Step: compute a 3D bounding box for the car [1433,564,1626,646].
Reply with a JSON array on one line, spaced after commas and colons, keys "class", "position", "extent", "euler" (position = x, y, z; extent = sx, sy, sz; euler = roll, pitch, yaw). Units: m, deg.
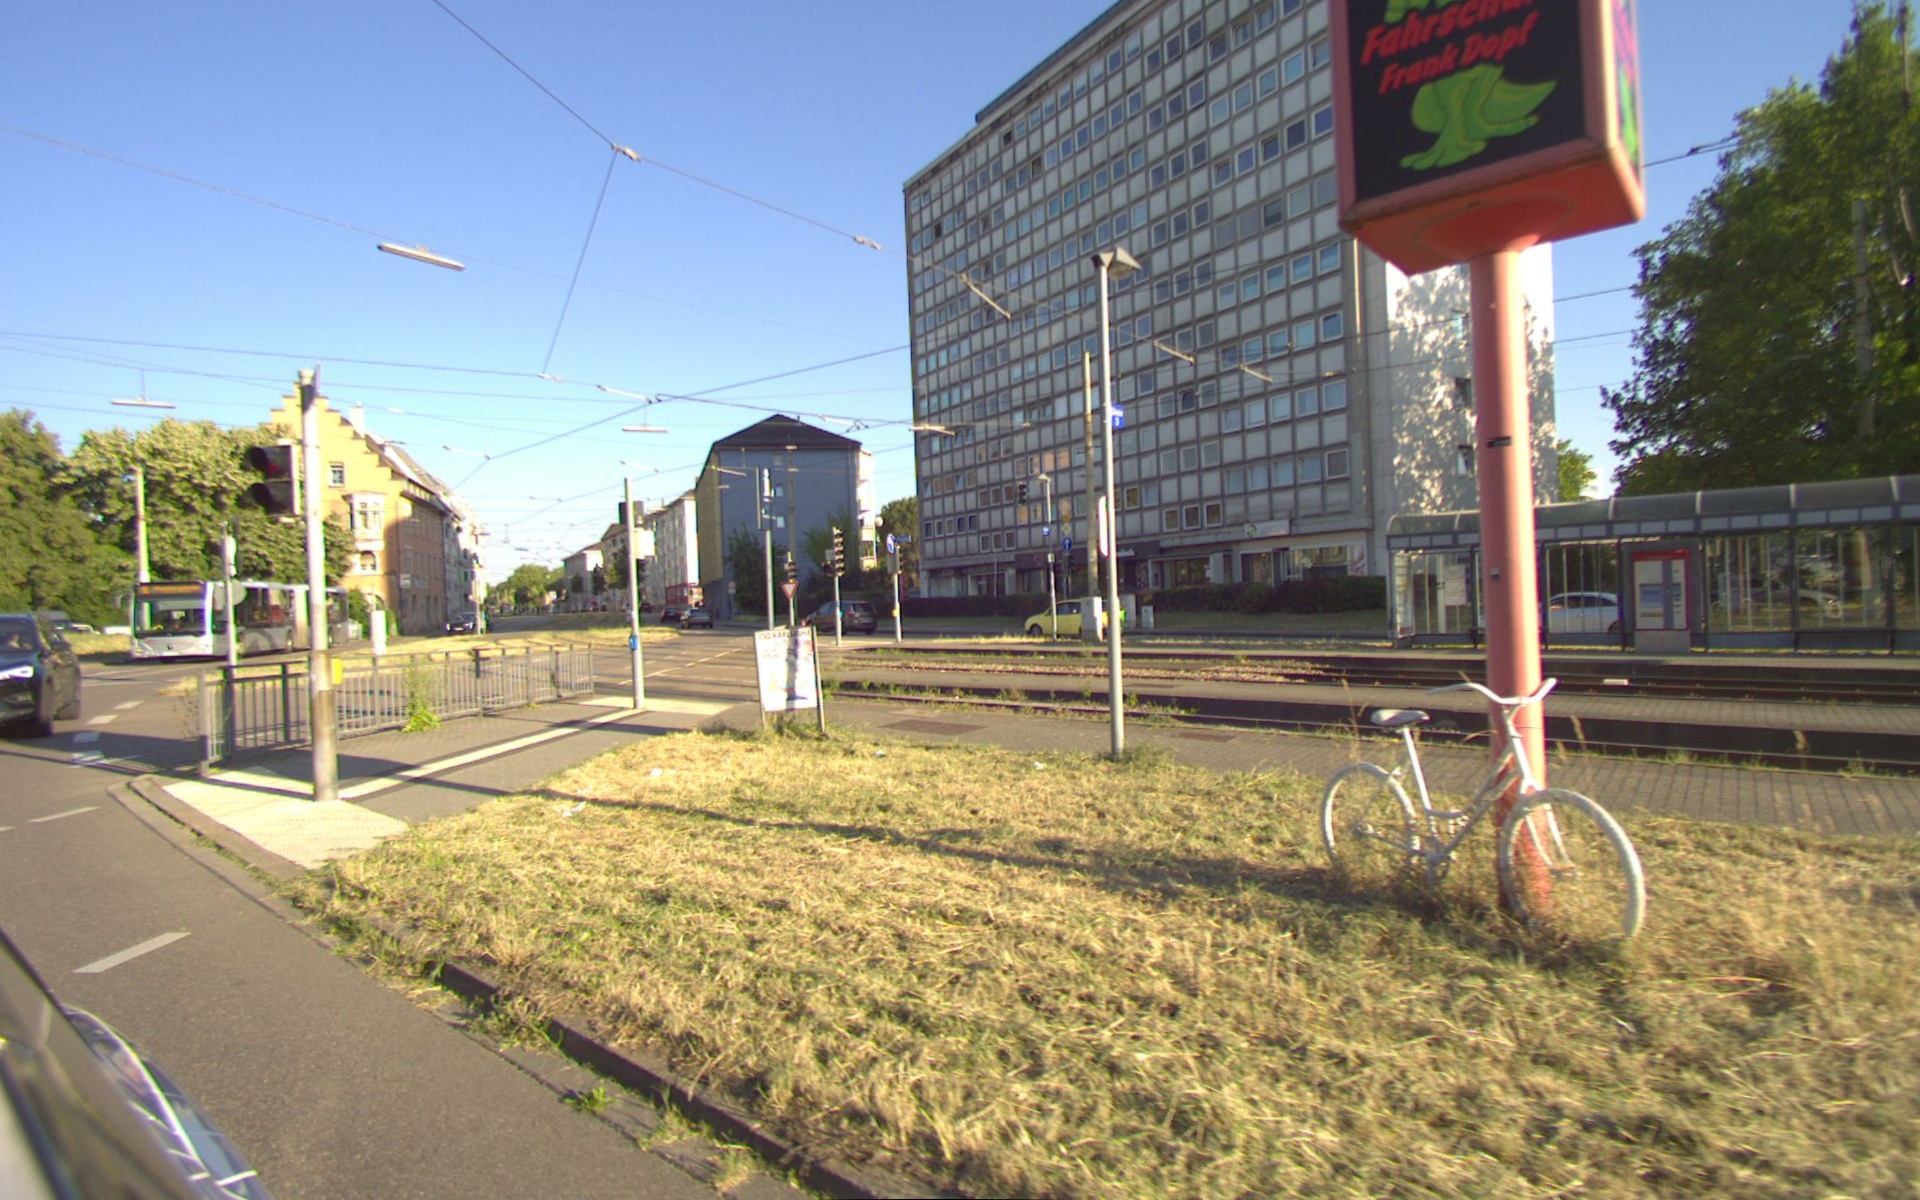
[{"class": "car", "position": [15.205, 0.160, 27.122], "extent": [4.160, 2.029, 1.972], "euler": [-2, -1, 42]}]

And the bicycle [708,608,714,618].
[{"class": "bicycle", "position": [-25.405, 1.287, 103.339], "extent": [0.421, 0.932, 1.918], "euler": [-6, 2, -18]}]

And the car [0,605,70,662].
[{"class": "car", "position": [-47.541, 1.706, 51.796], "extent": [6.209, 2.686, 2.016], "euler": [-2, 0, 40]}]

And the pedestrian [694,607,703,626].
[{"class": "pedestrian", "position": [-25.687, 1.612, 99.448], "extent": [0.585, 1.786, 0.888], "euler": [-7, 1, -19]}]

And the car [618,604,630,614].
[{"class": "car", "position": [-54.262, 1.435, 163.307], "extent": [1.673, 1.471, 4.330], "euler": [-1, 0, -21]}]

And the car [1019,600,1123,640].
[{"class": "car", "position": [4.027, 0.740, 37.062], "extent": [3.595, 1.350, 1.528], "euler": [-2, 0, 45]}]

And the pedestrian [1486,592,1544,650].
[{"class": "pedestrian", "position": [11.795, 0.436, 21.507], "extent": [0.922, 1.197, 0.834], "euler": [-2, -1, 41]}]

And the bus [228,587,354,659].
[{"class": "bus", "position": [-32.624, 1.142, 49.864], "extent": [2.667, 3.100, 10.633], "euler": [-1, -1, -19]}]

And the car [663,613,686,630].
[{"class": "car", "position": [-27.118, 1.998, 95.901], "extent": [1.751, 1.493, 4.414], "euler": [-1, 1, -20]}]

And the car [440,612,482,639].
[{"class": "car", "position": [-35.439, 1.793, 71.967], "extent": [1.966, 1.785, 4.012], "euler": [-1, 0, -17]}]

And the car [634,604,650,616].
[{"class": "car", "position": [-45.833, 1.494, 145.764], "extent": [1.891, 1.674, 4.724], "euler": [-1, -1, -20]}]

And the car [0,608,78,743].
[{"class": "car", "position": [-13.397, 0.966, 13.677], "extent": [1.760, 1.636, 4.227], "euler": [-1, 0, -35]}]

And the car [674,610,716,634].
[{"class": "car", "position": [-18.559, 1.503, 70.818], "extent": [1.629, 1.608, 4.600], "euler": [-2, 1, -30]}]

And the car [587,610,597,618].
[{"class": "car", "position": [-75.064, 2.826, 206.655], "extent": [1.768, 1.480, 4.812], "euler": [0, 0, -22]}]

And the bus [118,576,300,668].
[{"class": "bus", "position": [-29.029, 0.863, 39.769], "extent": [2.686, 3.100, 10.633], "euler": [-1, -1, -19]}]

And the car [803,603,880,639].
[{"class": "car", "position": [-5.715, 0.999, 48.423], "extent": [1.561, 1.607, 4.158], "euler": [-1, 0, -41]}]

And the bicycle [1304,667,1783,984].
[{"class": "bicycle", "position": [2.240, 0.788, 4.184], "extent": [0.545, 0.925, 1.748], "euler": [0, -1, -21]}]
